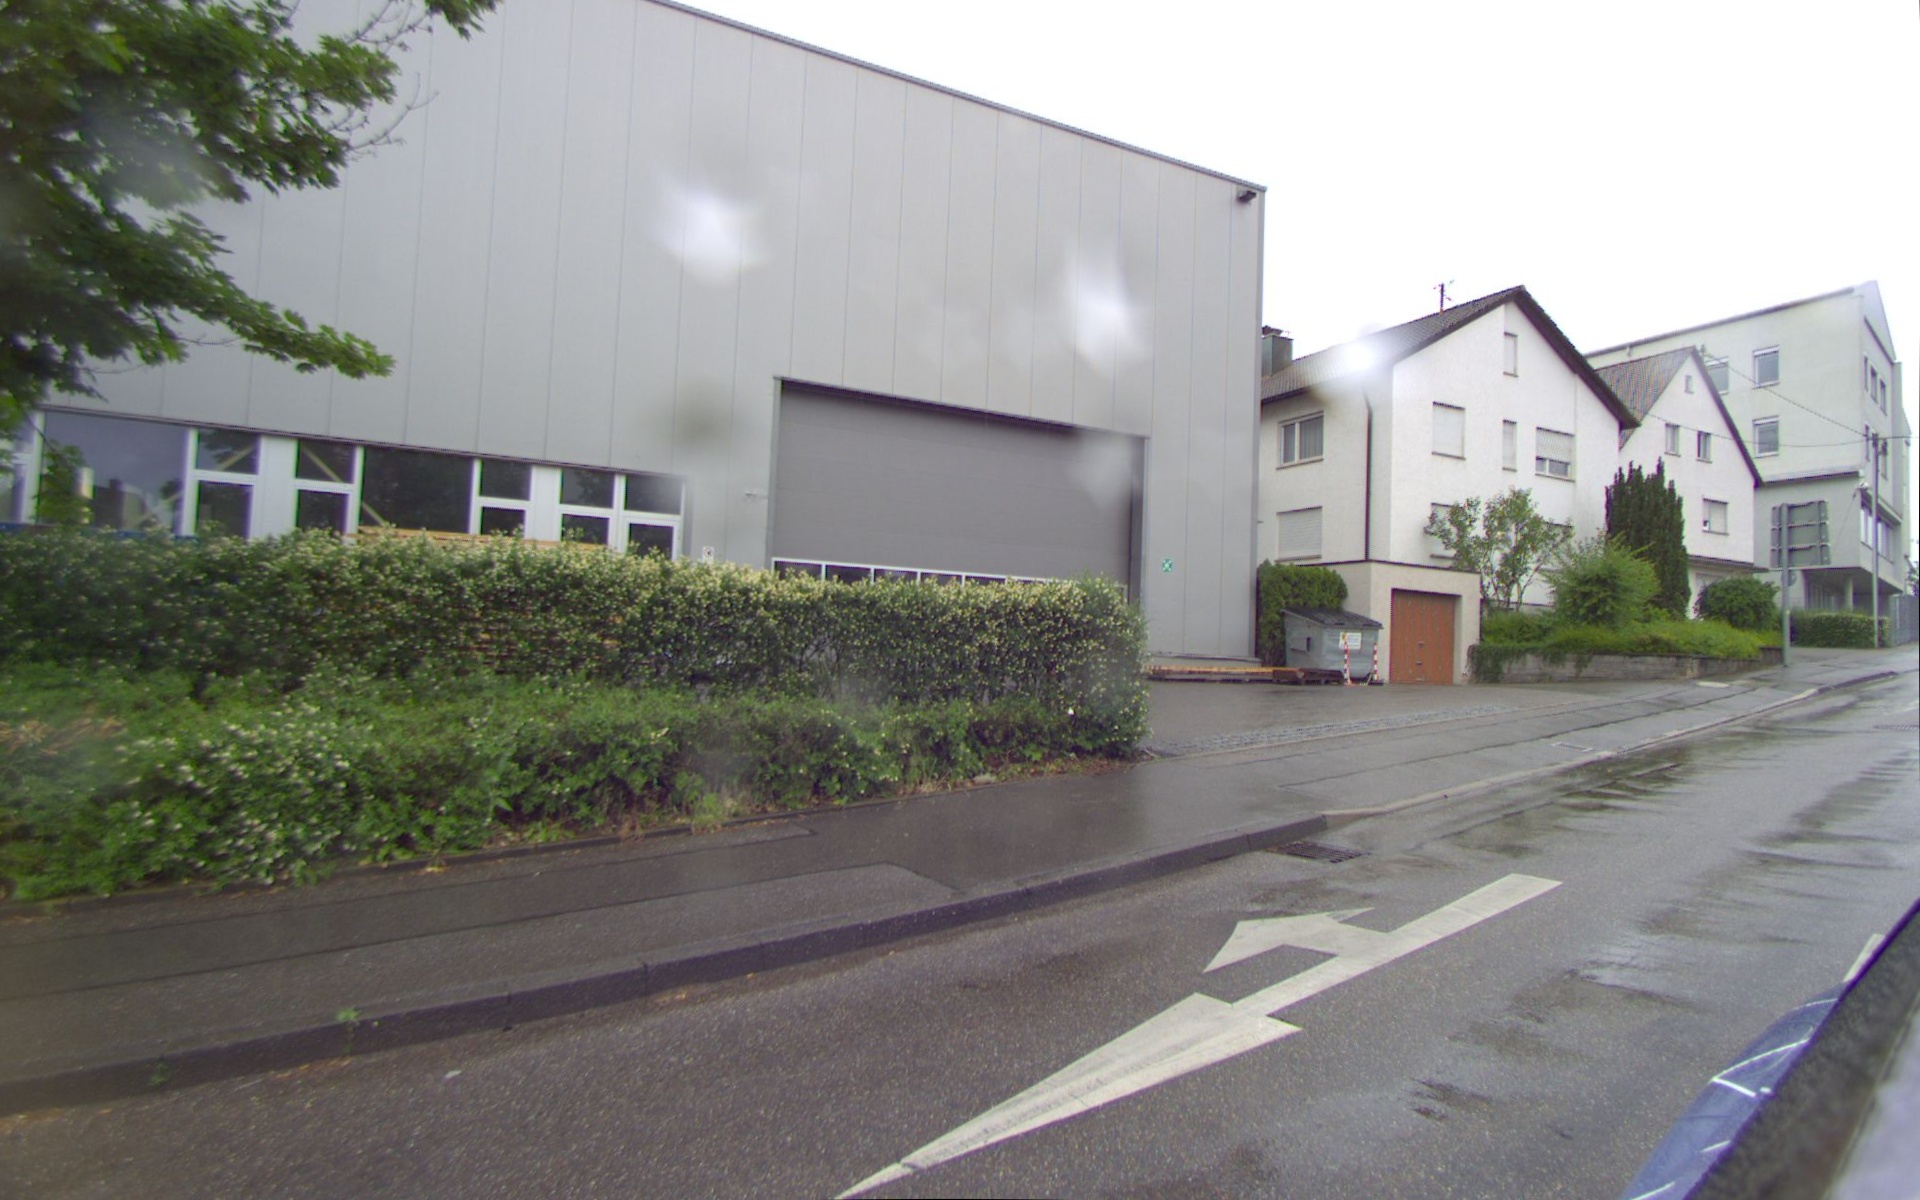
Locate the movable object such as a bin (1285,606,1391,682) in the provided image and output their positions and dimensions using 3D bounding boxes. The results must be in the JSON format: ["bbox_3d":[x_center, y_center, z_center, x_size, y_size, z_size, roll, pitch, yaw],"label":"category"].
[{"bbox_3d":[8.143,0.932,21.802,1.742,1.537,1.268,1,0,-25],"label":"movable object such as a bin"}]
